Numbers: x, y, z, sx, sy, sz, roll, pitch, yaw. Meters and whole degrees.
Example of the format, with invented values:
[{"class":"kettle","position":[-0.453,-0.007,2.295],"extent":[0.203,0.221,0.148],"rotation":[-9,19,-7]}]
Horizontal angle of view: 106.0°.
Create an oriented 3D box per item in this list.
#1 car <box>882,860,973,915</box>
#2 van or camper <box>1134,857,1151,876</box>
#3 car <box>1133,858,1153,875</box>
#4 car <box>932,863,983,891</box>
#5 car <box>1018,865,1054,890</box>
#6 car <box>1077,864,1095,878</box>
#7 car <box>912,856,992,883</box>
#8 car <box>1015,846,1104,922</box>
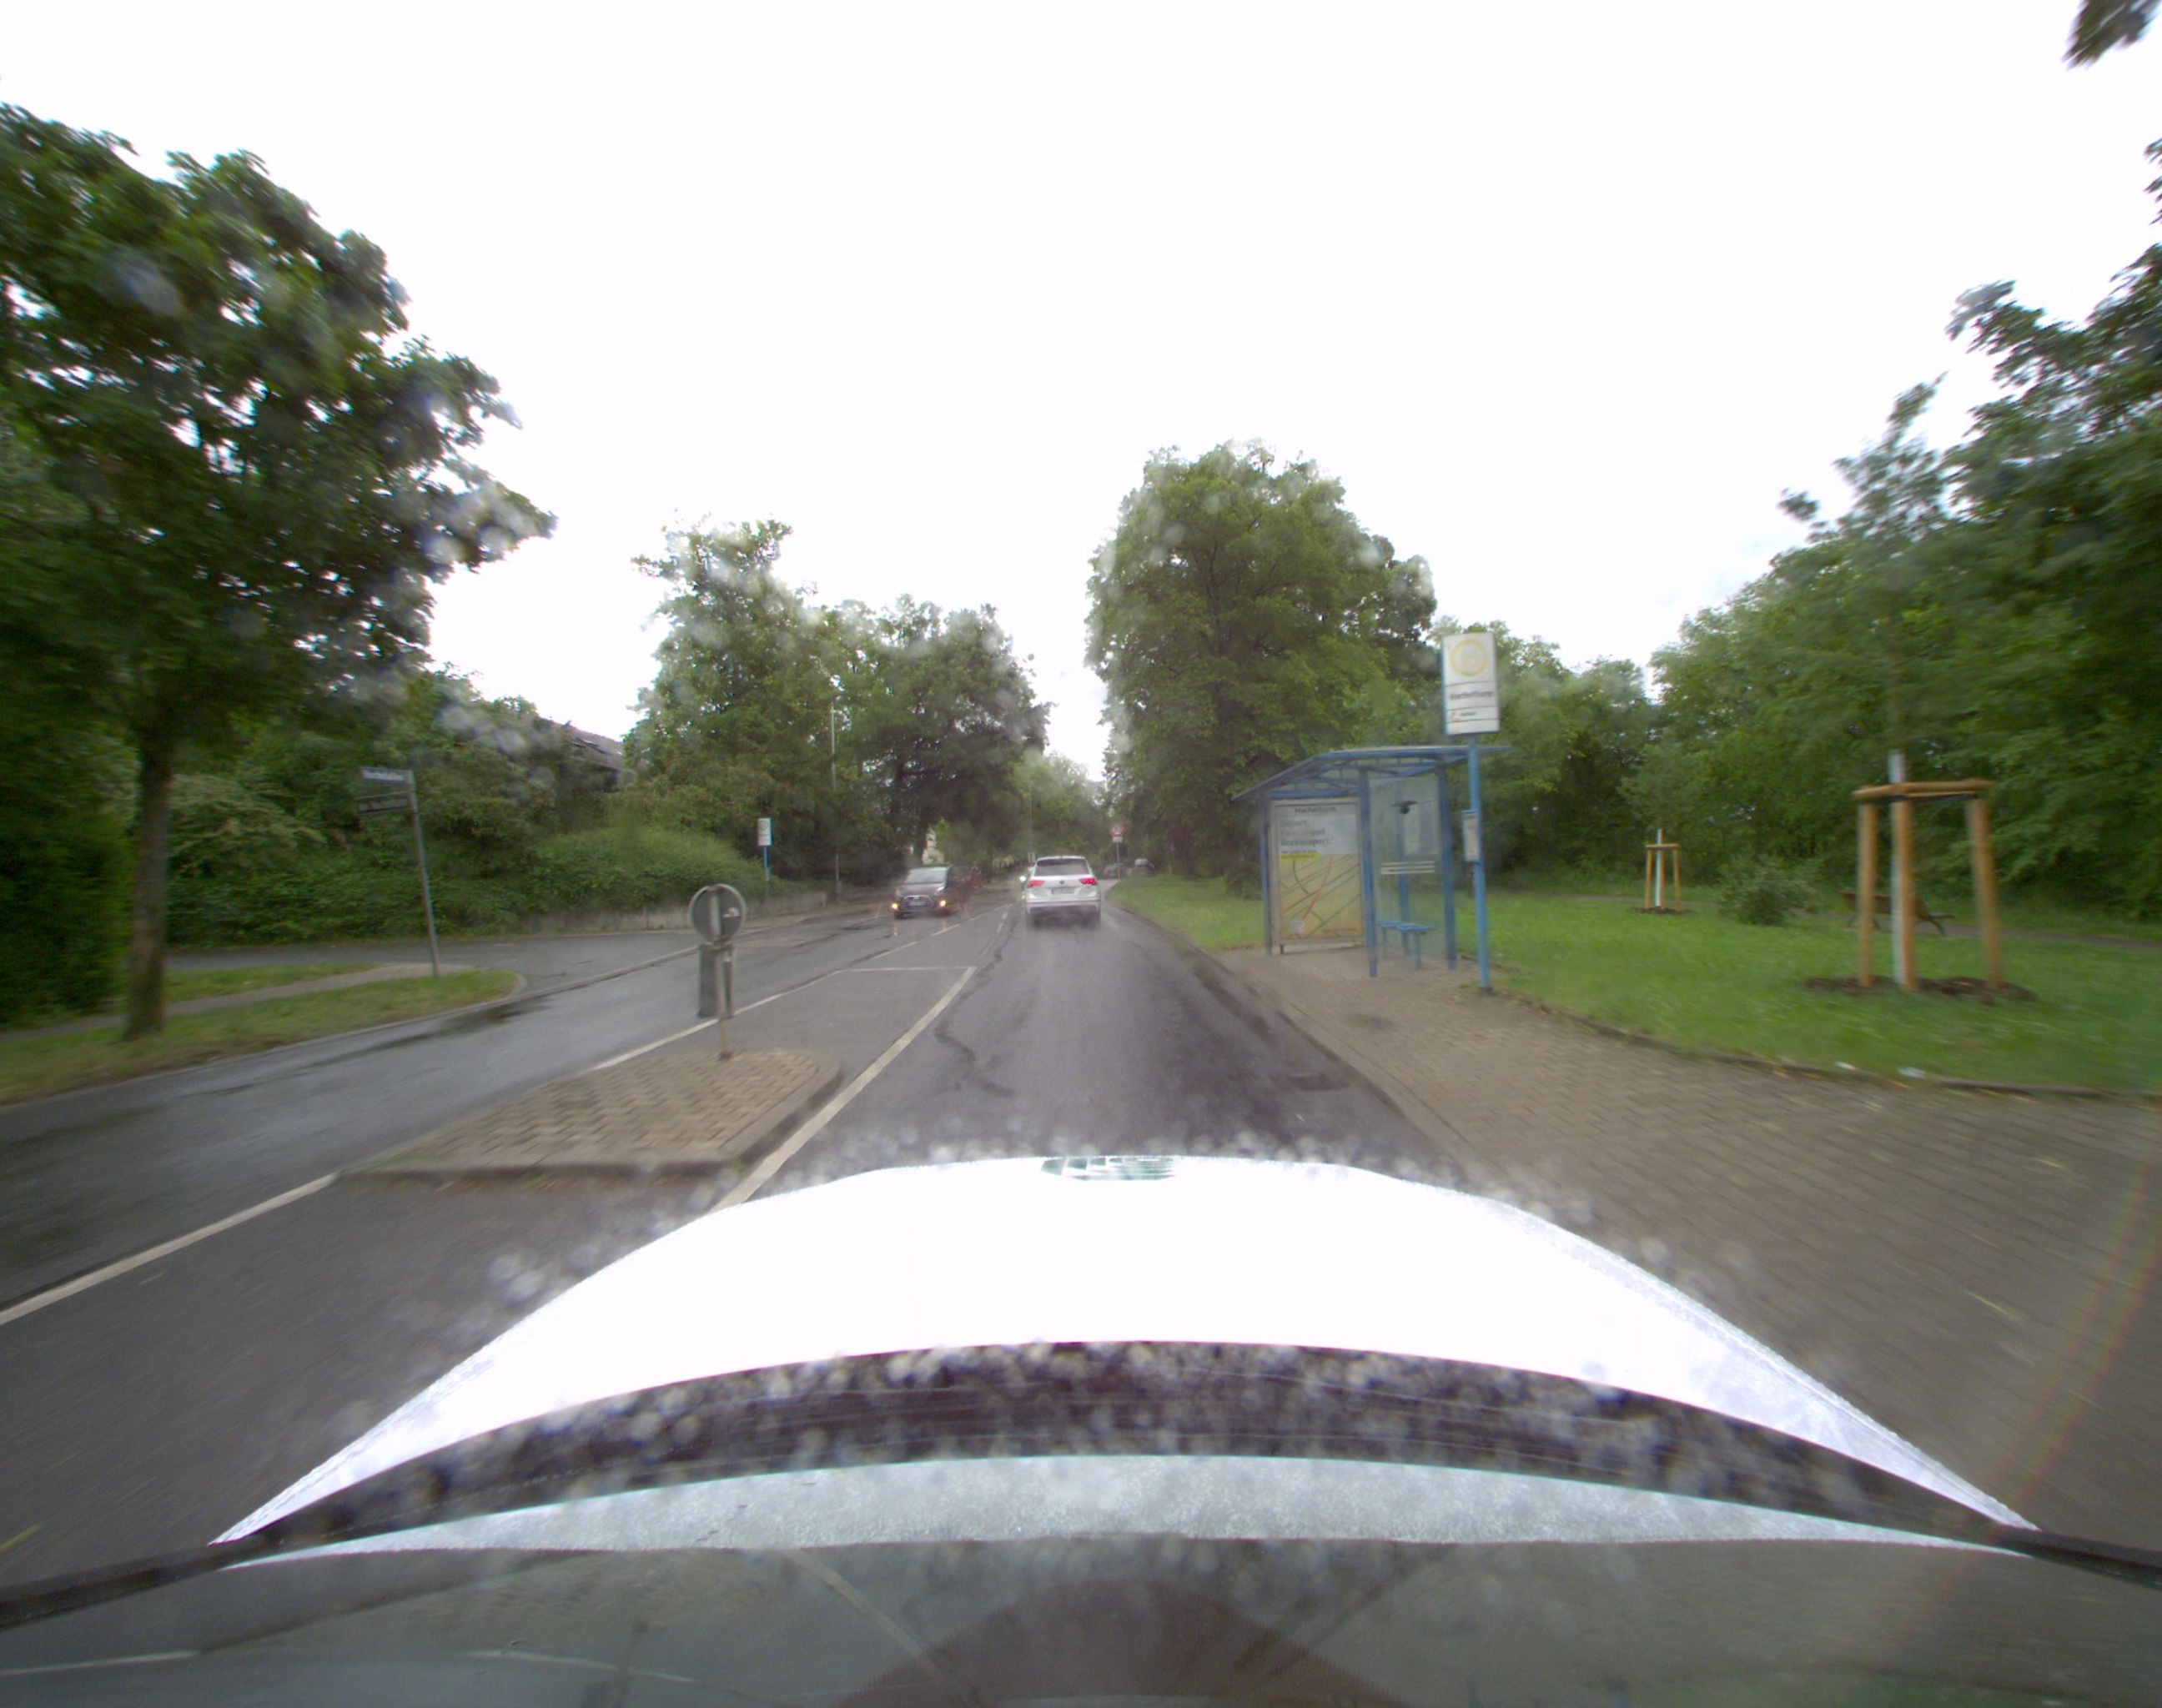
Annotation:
[{"class":"car","position":[-4.836,1.006,26.241],"extent":[1.986,1.577,4.001],"rotation":[-2,0,2]},{"class":"van or camper","position":[8.738,1.815,115.162],"extent":[2.005,2.583,8.449],"rotation":[-1,-1,6]},{"class":"car","position":[5.798,1.152,76.206],"extent":[1.692,1.462,4.223],"rotation":[-4,-2,6]},{"class":"car","position":[-7.773,1.425,51.686],"extent":[1.981,1.516,4.012],"rotation":[-1,2,10]},{"class":"car","position":[-2.895,1.502,53.307],"extent":[1.783,1.422,4.362],"rotation":[-4,-1,3]},{"class":"car","position":[0.551,1.974,93.861],"extent":[1.693,1.410,4.013],"rotation":[-4,-1,4]},{"class":"car","position":[-10.085,1.202,64.373],"extent":[5.725,2.038,3.479],"rotation":[-1,-1,0]},{"class":"car","position":[-0.444,0.723,20.923],"extent":[1.897,1.685,4.203],"rotation":[-2,-1,3]}]
